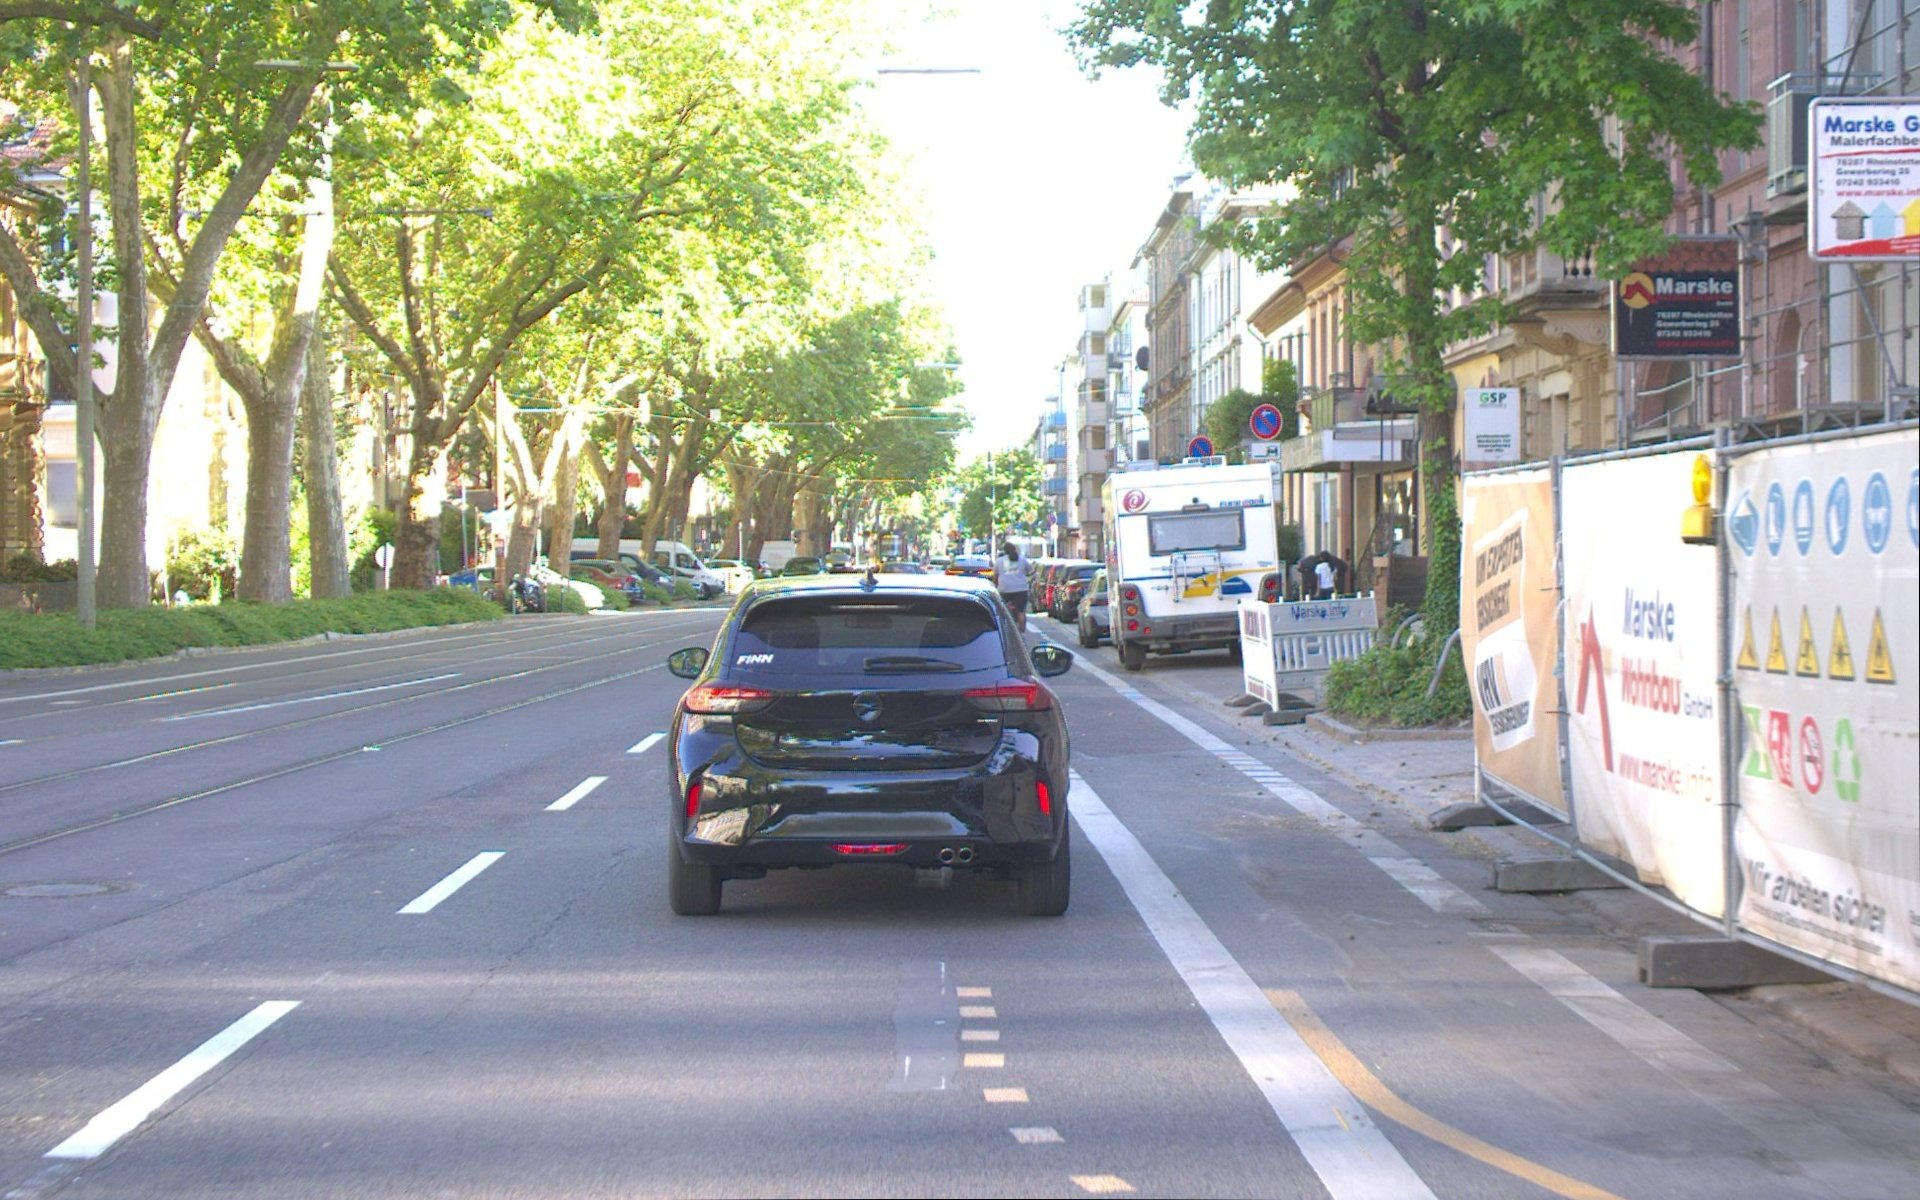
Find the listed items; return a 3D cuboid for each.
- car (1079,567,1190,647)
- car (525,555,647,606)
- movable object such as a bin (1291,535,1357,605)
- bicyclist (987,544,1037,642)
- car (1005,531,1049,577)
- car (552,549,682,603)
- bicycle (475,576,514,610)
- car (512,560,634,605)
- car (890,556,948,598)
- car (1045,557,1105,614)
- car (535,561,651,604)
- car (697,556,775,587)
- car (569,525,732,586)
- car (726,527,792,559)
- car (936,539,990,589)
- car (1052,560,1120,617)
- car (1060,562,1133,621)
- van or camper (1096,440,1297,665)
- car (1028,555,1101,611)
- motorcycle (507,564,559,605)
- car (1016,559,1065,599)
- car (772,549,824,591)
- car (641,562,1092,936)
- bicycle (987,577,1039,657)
[{"bbox_3d":[3.243,0.107,64.655,1.809,1.430,4.665,-1,0,0],"label":"car"},{"bbox_3d":[-12.971,-0.679,119.319,3.994,1.621,1.879,2,0,0],"label":"car"},{"bbox_3d":[7.980,-0.664,75.440,1.293,1.515,1.286,1,0,0],"label":"movable object such as a bin"},{"bbox_3d":[0.932,-0.126,61.712,0.848,1.734,1.162,1,0,-1],"label":"bicyclist"},{"bbox_3d":[3.383,-2.315,173.877,2.075,2.211,4.933,-3,0,2],"label":"car"},{"bbox_3d":[-13.062,-0.918,131.136,4.675,1.917,1.980,2,0,2],"label":"car"},{"bbox_3d":[-13.175,-0.202,97.308,0.541,0.937,2.033,1,1,8],"label":"bicycle"},{"bbox_3d":[-13.170,-0.596,117.182,3.920,1.437,1.749,2,0,1],"label":"car"},{"bbox_3d":[-1.349,-0.762,111.579,1.809,1.334,3.933,0,1,-1],"label":"car"},{"bbox_3d":[3.191,-0.412,95.889,1.634,1.541,3.576,-1,0,2],"label":"car"},{"bbox_3d":[-12.972,-0.630,121.725,3.919,1.417,1.819,2,0,-1],"label":"car"},{"bbox_3d":[-11.521,-1.463,177.264,3.919,1.493,1.677,2,0,-2],"label":"car"},{"bbox_3d":[-13.120,-1.877,146.246,6.628,2.401,2.458,2,0,1],"label":"car"},{"bbox_3d":[-12.129,-3.433,207.634,3.919,1.784,1.677,2,0,-2],"label":"car"},{"bbox_3d":[0.115,-1.265,120.678,1.810,1.736,3.933,0,1,1],"label":"car"},{"bbox_3d":[3.321,-0.326,91.339,1.651,1.451,3.868,-1,0,0],"label":"car"},{"bbox_3d":[3.307,-0.222,83.909,1.694,1.388,4.494,-1,1,1],"label":"car"},{"bbox_3d":[3.403,-0.690,51.131,2.477,2.962,7.884,-3,0,2],"label":"van or camper"},{"bbox_3d":[3.222,-0.528,106.889,1.880,1.580,3.933,-3,0,-3],"label":"car"},{"bbox_3d":[-12.075,-0.449,97.279,0.884,1.143,2.390,1,1,8],"label":"motorcycle"},{"bbox_3d":[3.200,-0.832,136.290,1.705,1.451,3.697,-3,0,4],"label":"car"},{"bbox_3d":[-6.491,-1.227,137.756,1.866,1.624,4.560,0,1,0],"label":"car"},{"bbox_3d":[-0.376,0.577,15.519,1.794,1.436,3.531,1,1,0],"label":"car"},{"bbox_3d":[0.944,0.292,61.834,0.860,1.402,2.524,1,1,-1],"label":"bicycle"}]
